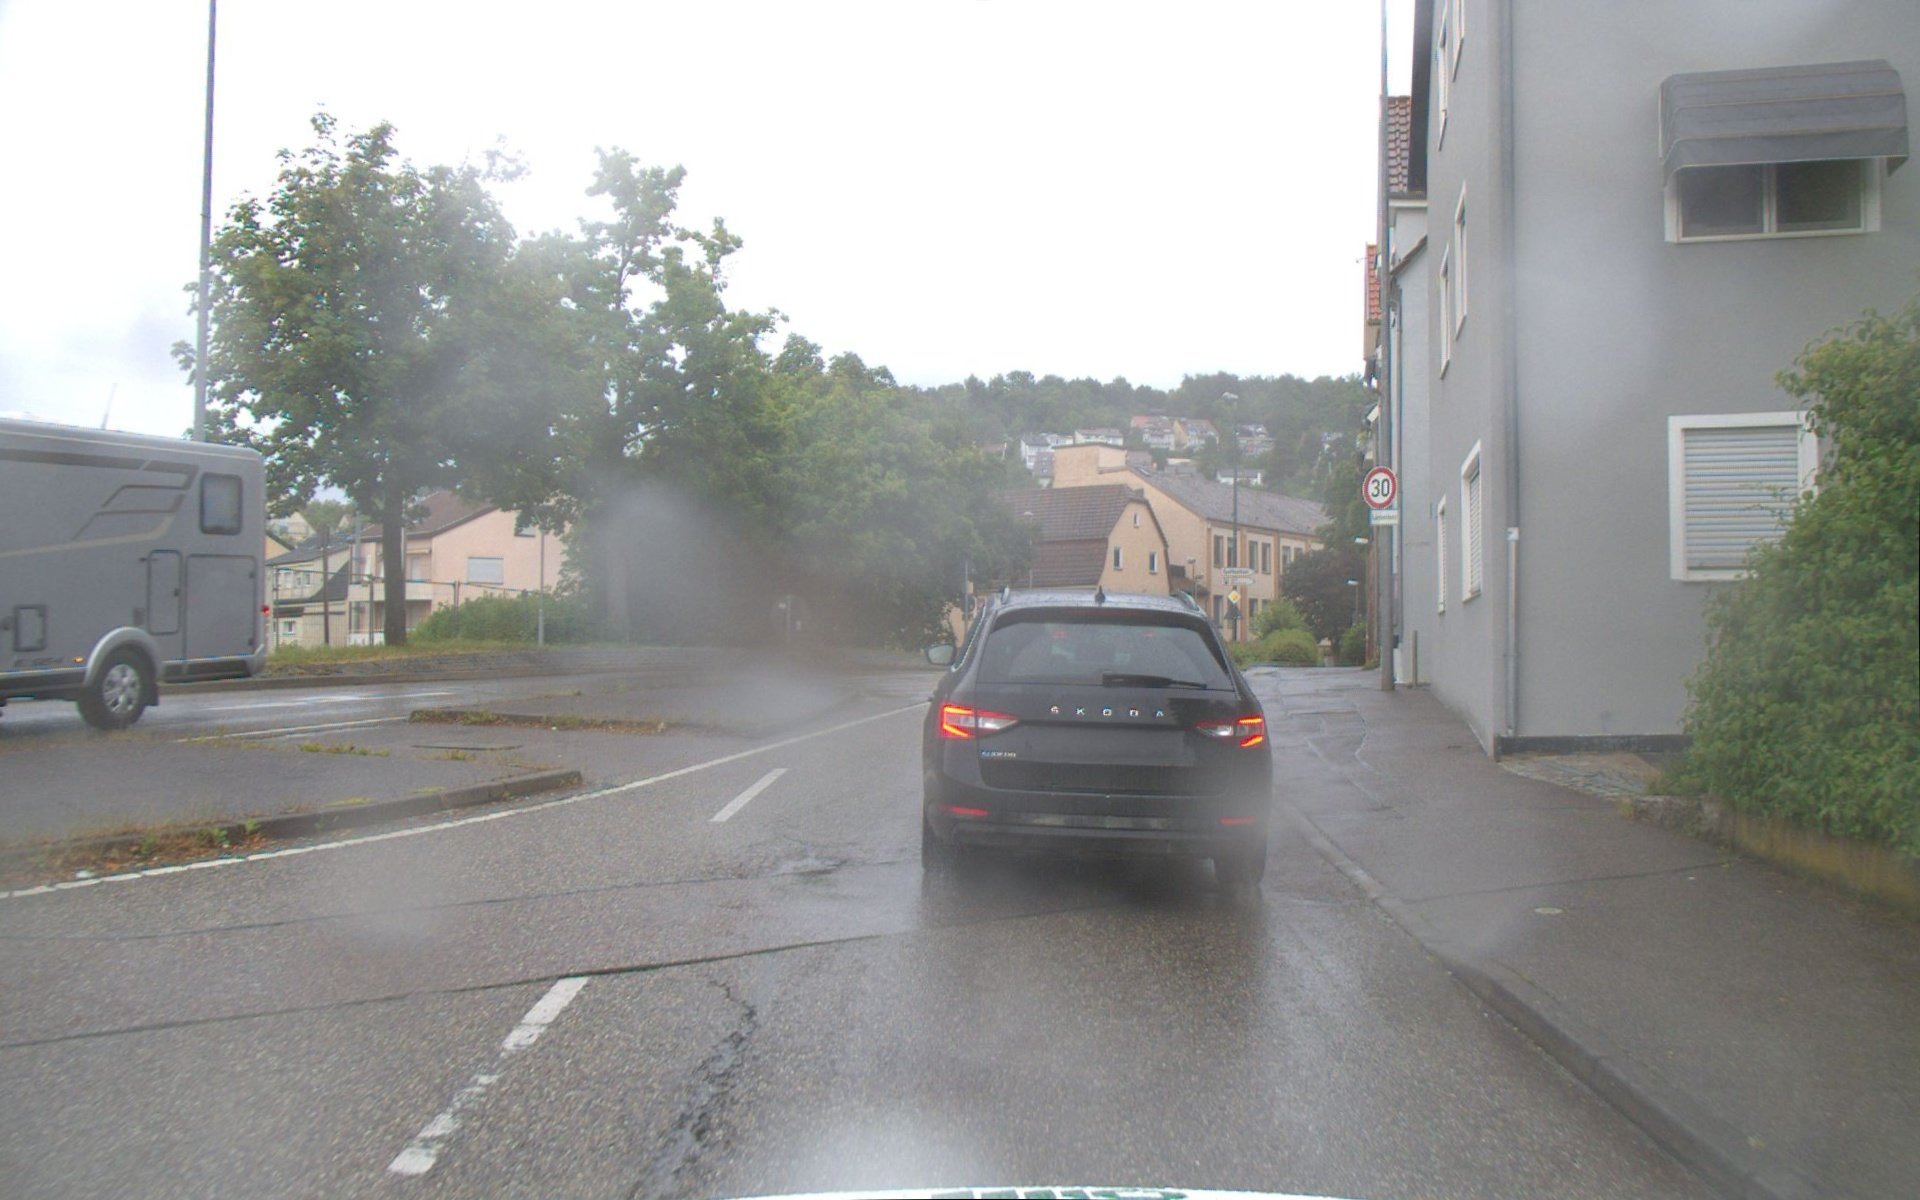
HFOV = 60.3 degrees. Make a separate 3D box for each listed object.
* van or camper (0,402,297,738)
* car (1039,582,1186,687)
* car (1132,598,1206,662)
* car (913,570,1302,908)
[{"bbox_3d":[-8.775,-0.253,13.862,2.317,2.702,7.026,0,0,14],"label":"van or camper"},{"bbox_3d":[2.312,0.550,24.232,1.779,1.384,3.992,-1,-3,10],"label":"car"},{"bbox_3d":[5.147,0.692,40.450,1.617,1.411,3.923,1,1,10],"label":"car"},{"bbox_3d":[0.698,0.615,9.676,1.745,1.509,4.246,1,1,1],"label":"car"}]
